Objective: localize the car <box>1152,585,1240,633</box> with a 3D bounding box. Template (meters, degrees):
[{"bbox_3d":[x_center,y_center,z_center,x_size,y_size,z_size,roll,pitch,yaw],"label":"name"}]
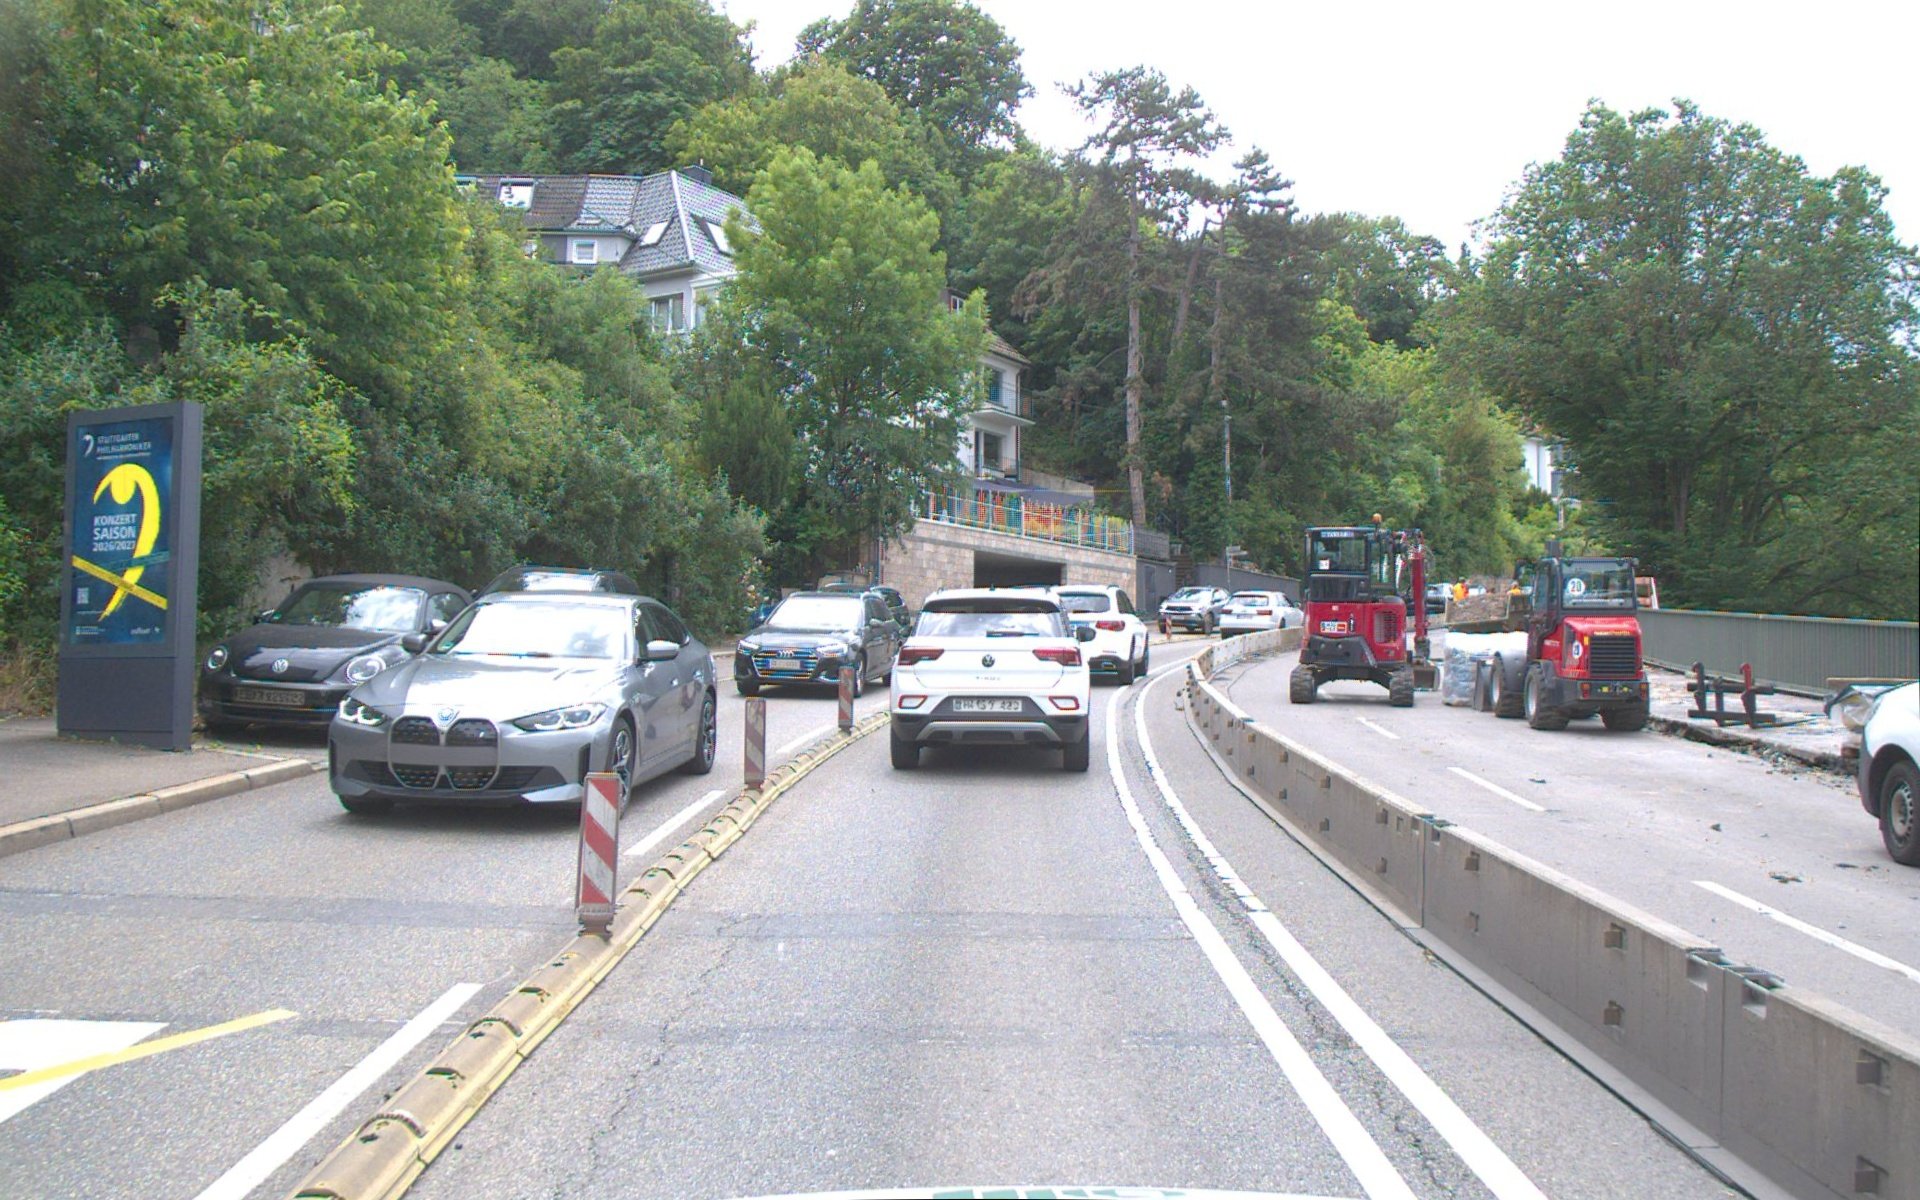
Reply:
[{"bbox_3d":[8.023,0.282,55.985,1.733,1.544,4.021,1,1,27],"label":"car"}]

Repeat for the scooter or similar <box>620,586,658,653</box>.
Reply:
[{"bbox_3d":[-6.111,0.363,31.546,0.341,1.234,1.047,3,1,7],"label":"scooter or similar"}]

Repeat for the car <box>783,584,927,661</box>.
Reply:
[{"bbox_3d":[-2.210,0.451,36.371,1.699,1.476,4.687,3,1,15],"label":"car"}]

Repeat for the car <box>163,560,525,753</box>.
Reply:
[{"bbox_3d":[-5.726,0.469,15.950,1.757,1.536,4.002,3,0,3],"label":"car"}]

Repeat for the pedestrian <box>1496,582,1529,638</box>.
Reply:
[{"bbox_3d":[16.967,0.298,50.783,0.769,1.717,0.782,0,0,36],"label":"pedestrian"}]

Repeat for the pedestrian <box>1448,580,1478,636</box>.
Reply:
[{"bbox_3d":[16.050,0.259,52.755,0.857,1.761,0.878,0,0,20],"label":"pedestrian"}]

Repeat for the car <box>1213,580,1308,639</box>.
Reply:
[{"bbox_3d":[9.115,0.252,49.931,1.774,1.692,3.996,-1,0,26],"label":"car"}]

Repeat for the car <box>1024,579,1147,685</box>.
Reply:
[{"bbox_3d":[2.257,0.507,28.852,1.771,1.692,4.004,-1,0,9],"label":"car"}]

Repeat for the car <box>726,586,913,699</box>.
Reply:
[{"bbox_3d":[-1.990,0.558,24.805,1.757,1.471,4.366,1,1,9],"label":"car"}]

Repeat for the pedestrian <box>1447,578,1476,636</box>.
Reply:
[{"bbox_3d":[16.299,0.214,53.790,0.857,1.854,0.878,0,0,20],"label":"pedestrian"}]

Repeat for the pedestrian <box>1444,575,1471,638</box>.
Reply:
[{"bbox_3d":[15.568,0.192,51.770,0.675,1.940,0.826,0,0,7],"label":"pedestrian"}]

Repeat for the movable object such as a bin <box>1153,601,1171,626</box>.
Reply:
[{"bbox_3d":[7.837,0.523,64.154,0.539,0.994,0.508,0,0,33],"label":"movable object such as a bin"}]

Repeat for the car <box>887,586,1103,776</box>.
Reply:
[{"bbox_3d":[0.365,0.654,15.632,1.772,1.558,4.001,0,0,2],"label":"car"}]

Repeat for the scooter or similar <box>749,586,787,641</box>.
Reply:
[{"bbox_3d":[-4.560,0.318,39.290,0.407,1.253,1.122,3,1,18],"label":"scooter or similar"}]

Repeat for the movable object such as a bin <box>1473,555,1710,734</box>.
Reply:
[{"bbox_3d":[7.704,0.480,20.581,1.665,1.977,4.167,1,0,5],"label":"movable object such as a bin"}]

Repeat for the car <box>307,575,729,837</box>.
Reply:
[{"bbox_3d":[-2.960,0.642,12.106,1.758,1.508,4.329,2,0,2],"label":"car"}]

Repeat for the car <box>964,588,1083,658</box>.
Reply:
[{"bbox_3d":[1.626,0.515,40.571,1.731,1.595,4.231,1,1,19],"label":"car"}]

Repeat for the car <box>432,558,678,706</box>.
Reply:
[{"bbox_3d":[-5.054,0.369,21.265,1.651,1.634,4.189,3,0,6],"label":"car"}]

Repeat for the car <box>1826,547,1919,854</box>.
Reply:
[{"bbox_3d":[6.532,0.610,8.716,1.794,1.811,4.269,0,0,2],"label":"car"}]

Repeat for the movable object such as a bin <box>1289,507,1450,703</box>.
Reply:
[{"bbox_3d":[6.329,0.044,25.561,2.164,2.709,4.948,1,0,14],"label":"movable object such as a bin"}]
